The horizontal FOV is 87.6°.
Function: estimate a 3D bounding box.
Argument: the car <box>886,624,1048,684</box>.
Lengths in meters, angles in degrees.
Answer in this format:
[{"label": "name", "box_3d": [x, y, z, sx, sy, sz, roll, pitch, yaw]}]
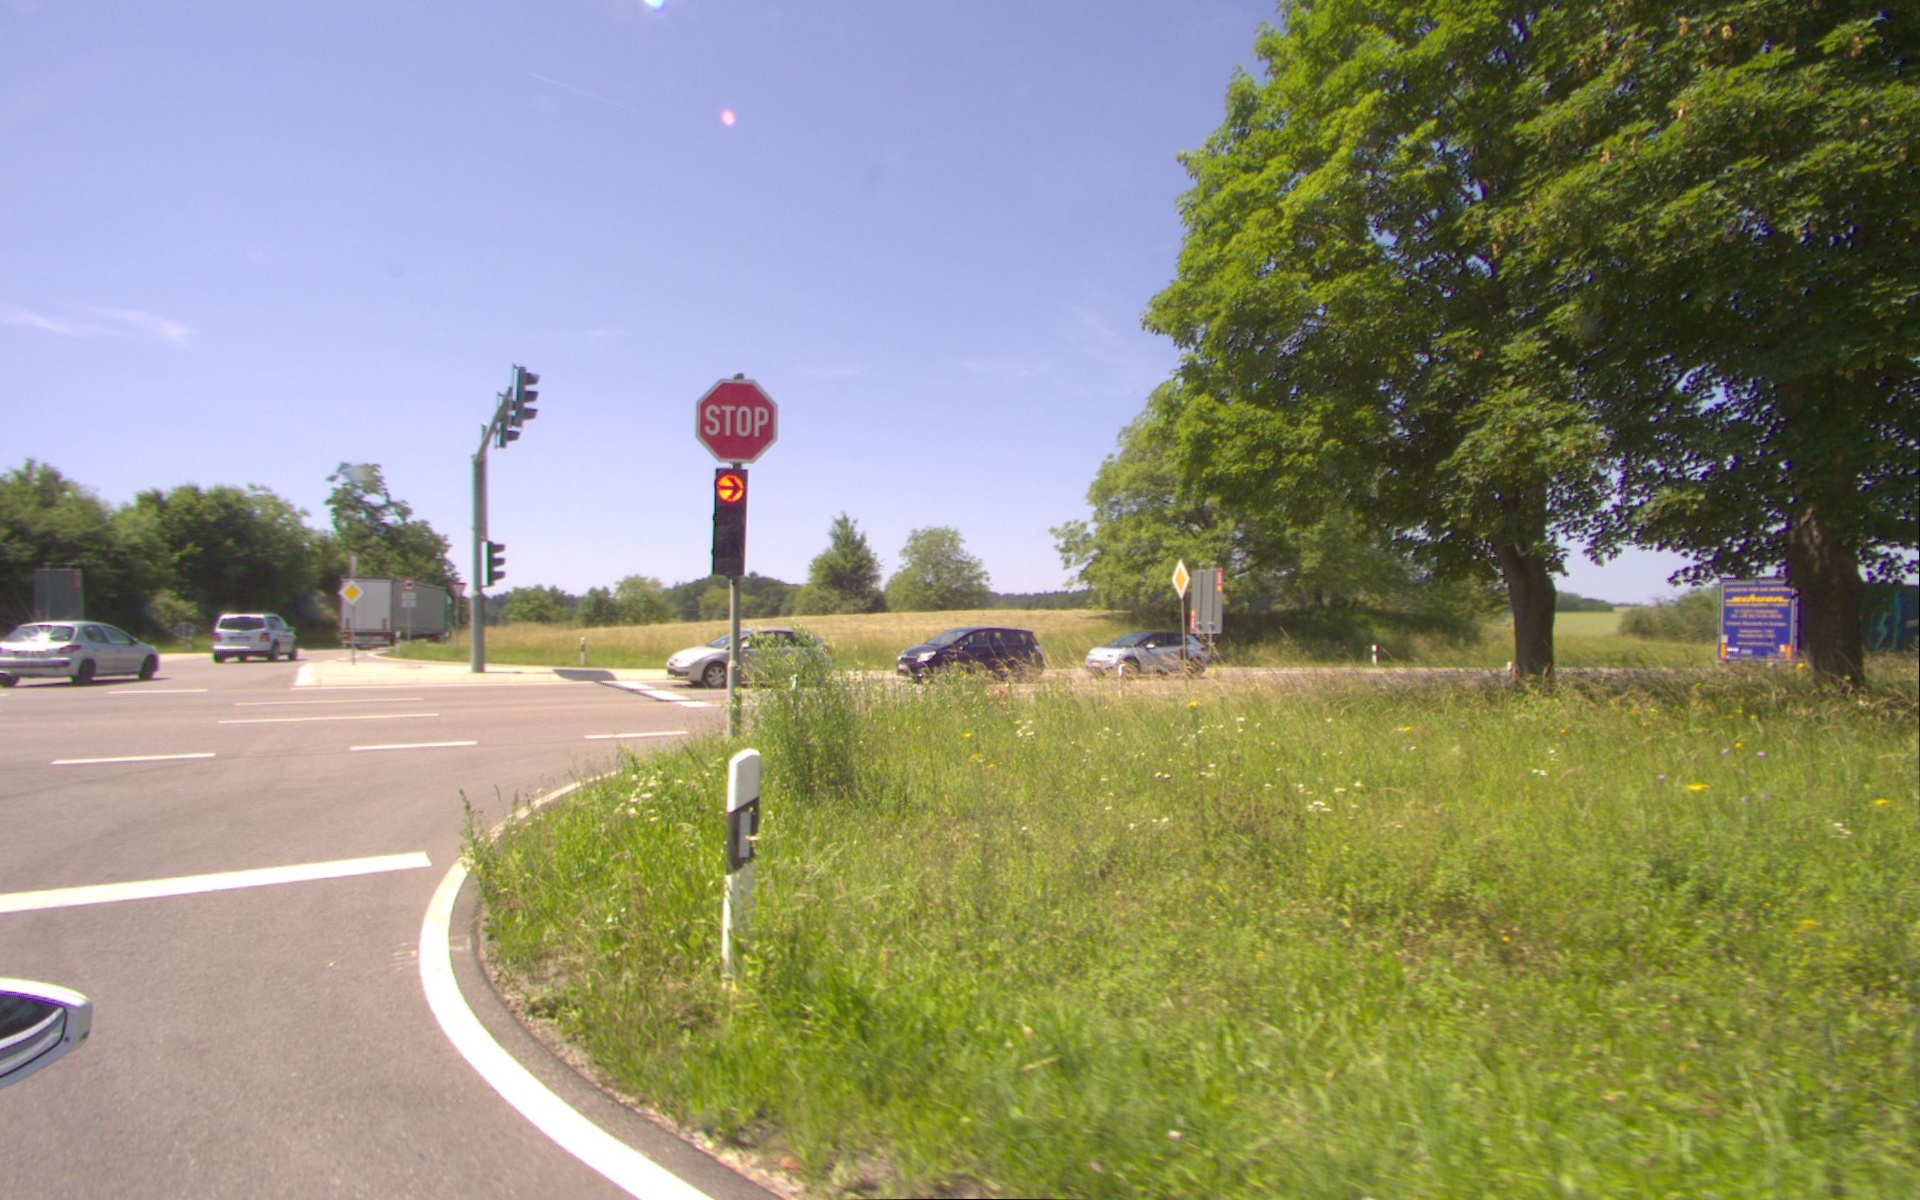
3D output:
[{"label": "car", "box_3d": [0.227, 1.532, 28.712, 4.318, 1.573, 1.721, 2, 0, -28]}]

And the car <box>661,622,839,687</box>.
[{"label": "car", "box_3d": [-5.354, 1.374, 25.649, 4.113, 1.489, 1.719, 2, 0, -31]}]

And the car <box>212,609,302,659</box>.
[{"label": "car", "box_3d": [-24.790, 1.144, 35.458, 1.789, 1.646, 4.046, 0, 0, -23]}]

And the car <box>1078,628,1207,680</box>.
[{"label": "car", "box_3d": [5.981, 1.747, 32.736, 3.962, 1.573, 1.647, 2, 0, -28]}]

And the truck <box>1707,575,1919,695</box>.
[{"label": "truck", "box_3d": [36.164, 1.447, 39.927, 16.550, 4.185, 2.841, 2, -1, -26]}]

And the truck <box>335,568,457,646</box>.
[{"label": "truck", "box_3d": [-34.791, 0.635, 62.649, 3.080, 4.226, 16.660, 1, -2, -17]}]

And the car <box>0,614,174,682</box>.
[{"label": "car", "box_3d": [-20.423, 1.071, 23.399, 1.785, 1.431, 3.779, 1, -1, -13]}]
